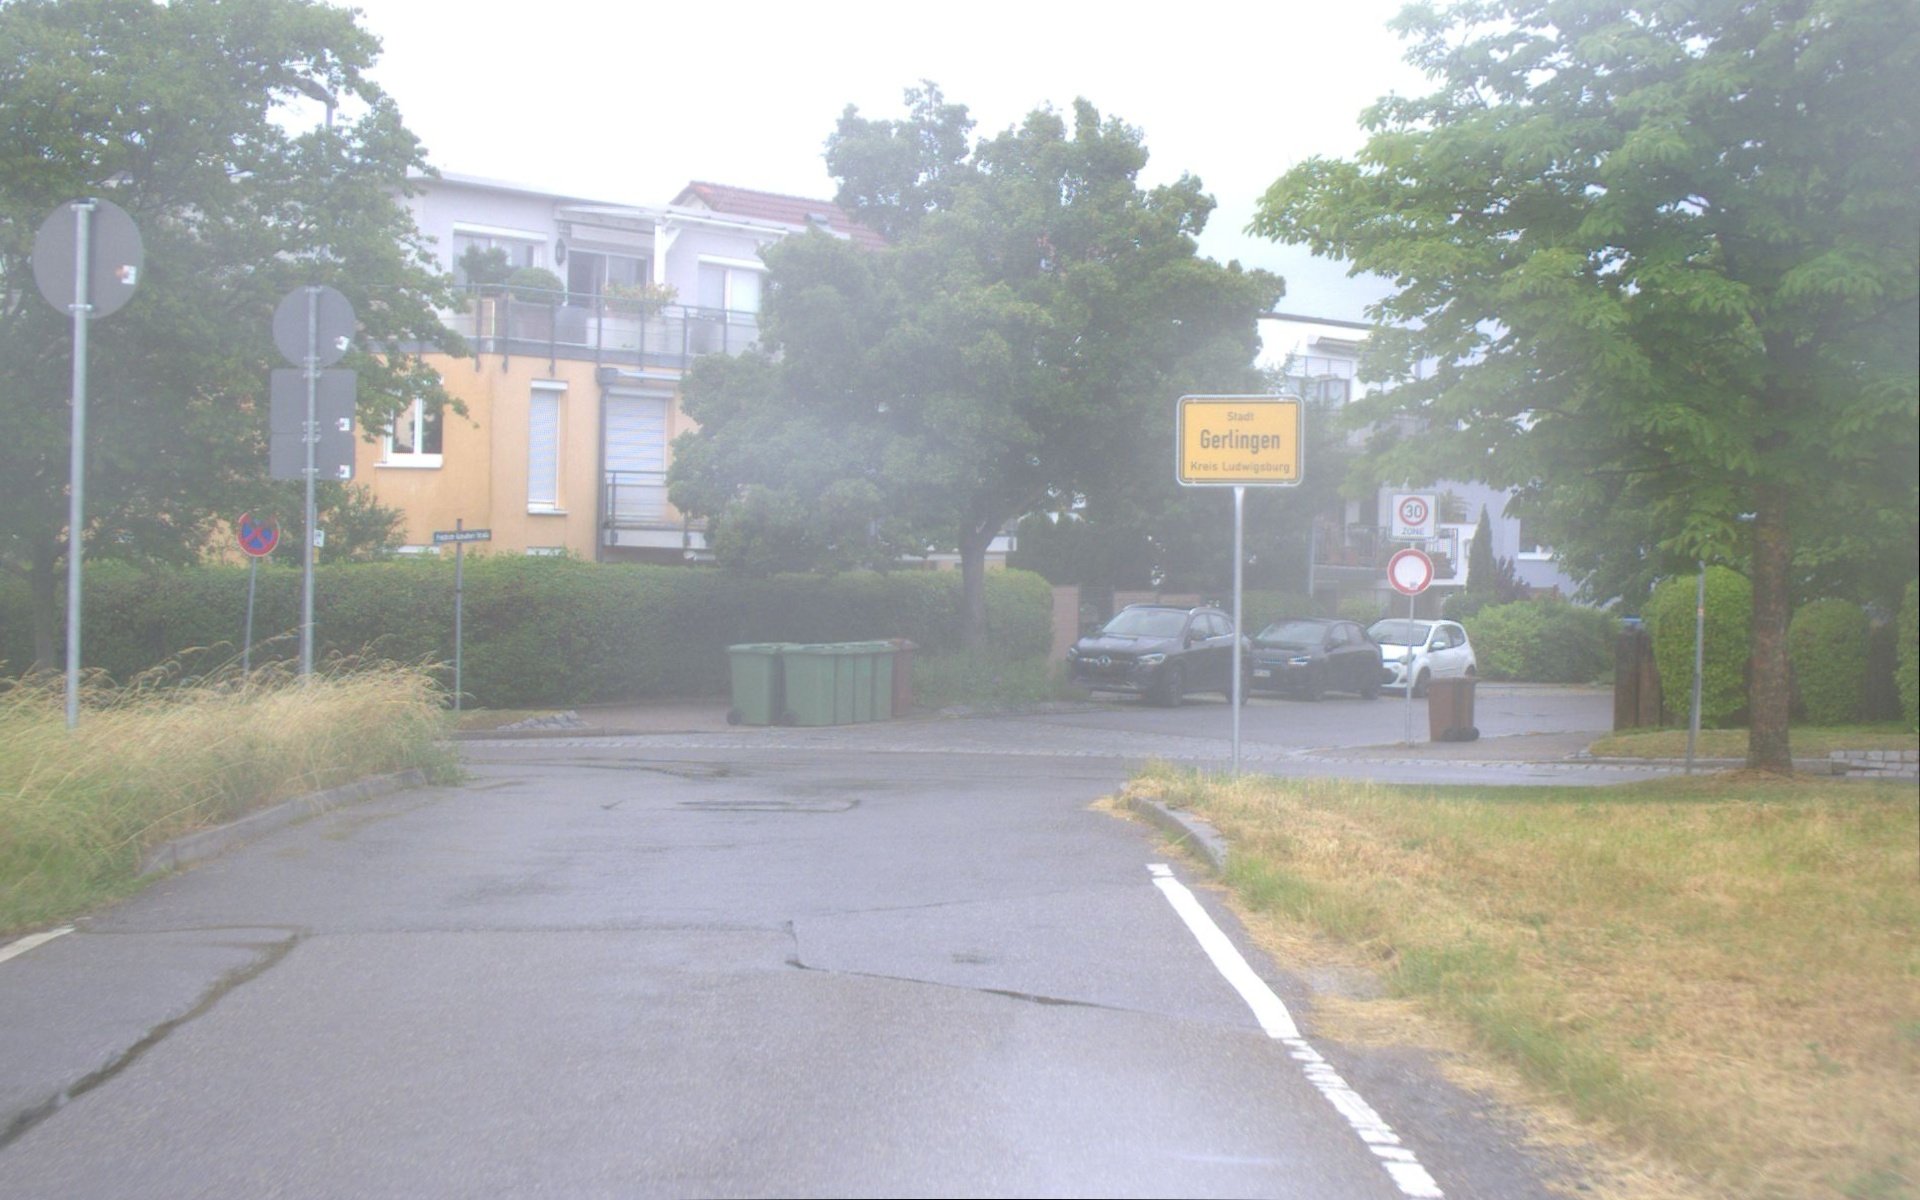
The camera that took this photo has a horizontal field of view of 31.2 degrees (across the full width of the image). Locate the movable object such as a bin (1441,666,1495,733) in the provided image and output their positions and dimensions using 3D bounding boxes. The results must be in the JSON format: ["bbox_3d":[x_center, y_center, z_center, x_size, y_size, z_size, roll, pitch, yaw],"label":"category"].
[{"bbox_3d":[7.258,1.423,49.143,0.571,0.928,0.529,1,0,33],"label":"movable object such as a bin"}]

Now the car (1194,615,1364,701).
[{"bbox_3d":[5.731,1.030,61.484,1.638,1.404,3.598,3,1,29],"label":"car"}]

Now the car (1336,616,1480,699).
[{"bbox_3d":[8.600,1.096,65.825,1.513,1.471,3.268,3,1,30],"label":"car"}]

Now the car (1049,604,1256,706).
[{"bbox_3d":[3.203,0.894,56.372,1.778,1.513,4.131,3,1,27],"label":"car"}]

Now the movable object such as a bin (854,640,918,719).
[{"bbox_3d":[-1.020,1.093,47.439,0.695,1.051,0.605,1,0,20],"label":"movable object such as a bin"}]

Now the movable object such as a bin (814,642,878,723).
[{"bbox_3d":[-1.529,1.102,46.211,0.695,1.063,0.578,1,0,20],"label":"movable object such as a bin"}]

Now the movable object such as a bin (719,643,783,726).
[{"bbox_3d":[-2.753,1.105,45.251,0.666,1.070,0.543,1,0,20],"label":"movable object such as a bin"}]

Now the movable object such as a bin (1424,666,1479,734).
[{"bbox_3d":[6.957,1.412,48.667,0.571,0.928,0.529,1,0,33],"label":"movable object such as a bin"}]

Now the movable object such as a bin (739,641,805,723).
[{"bbox_3d":[-2.501,1.088,45.834,0.695,1.069,0.597,1,0,20],"label":"movable object such as a bin"}]

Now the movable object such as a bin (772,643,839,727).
[{"bbox_3d":[-2.025,1.114,45.022,0.695,1.071,0.601,1,0,20],"label":"movable object such as a bin"}]

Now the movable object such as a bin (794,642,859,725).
[{"bbox_3d":[-1.771,1.106,45.631,0.695,1.071,0.543,1,0,20],"label":"movable object such as a bin"}]

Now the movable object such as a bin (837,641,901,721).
[{"bbox_3d":[-1.236,1.096,46.769,0.695,1.051,0.605,1,0,20],"label":"movable object such as a bin"}]
